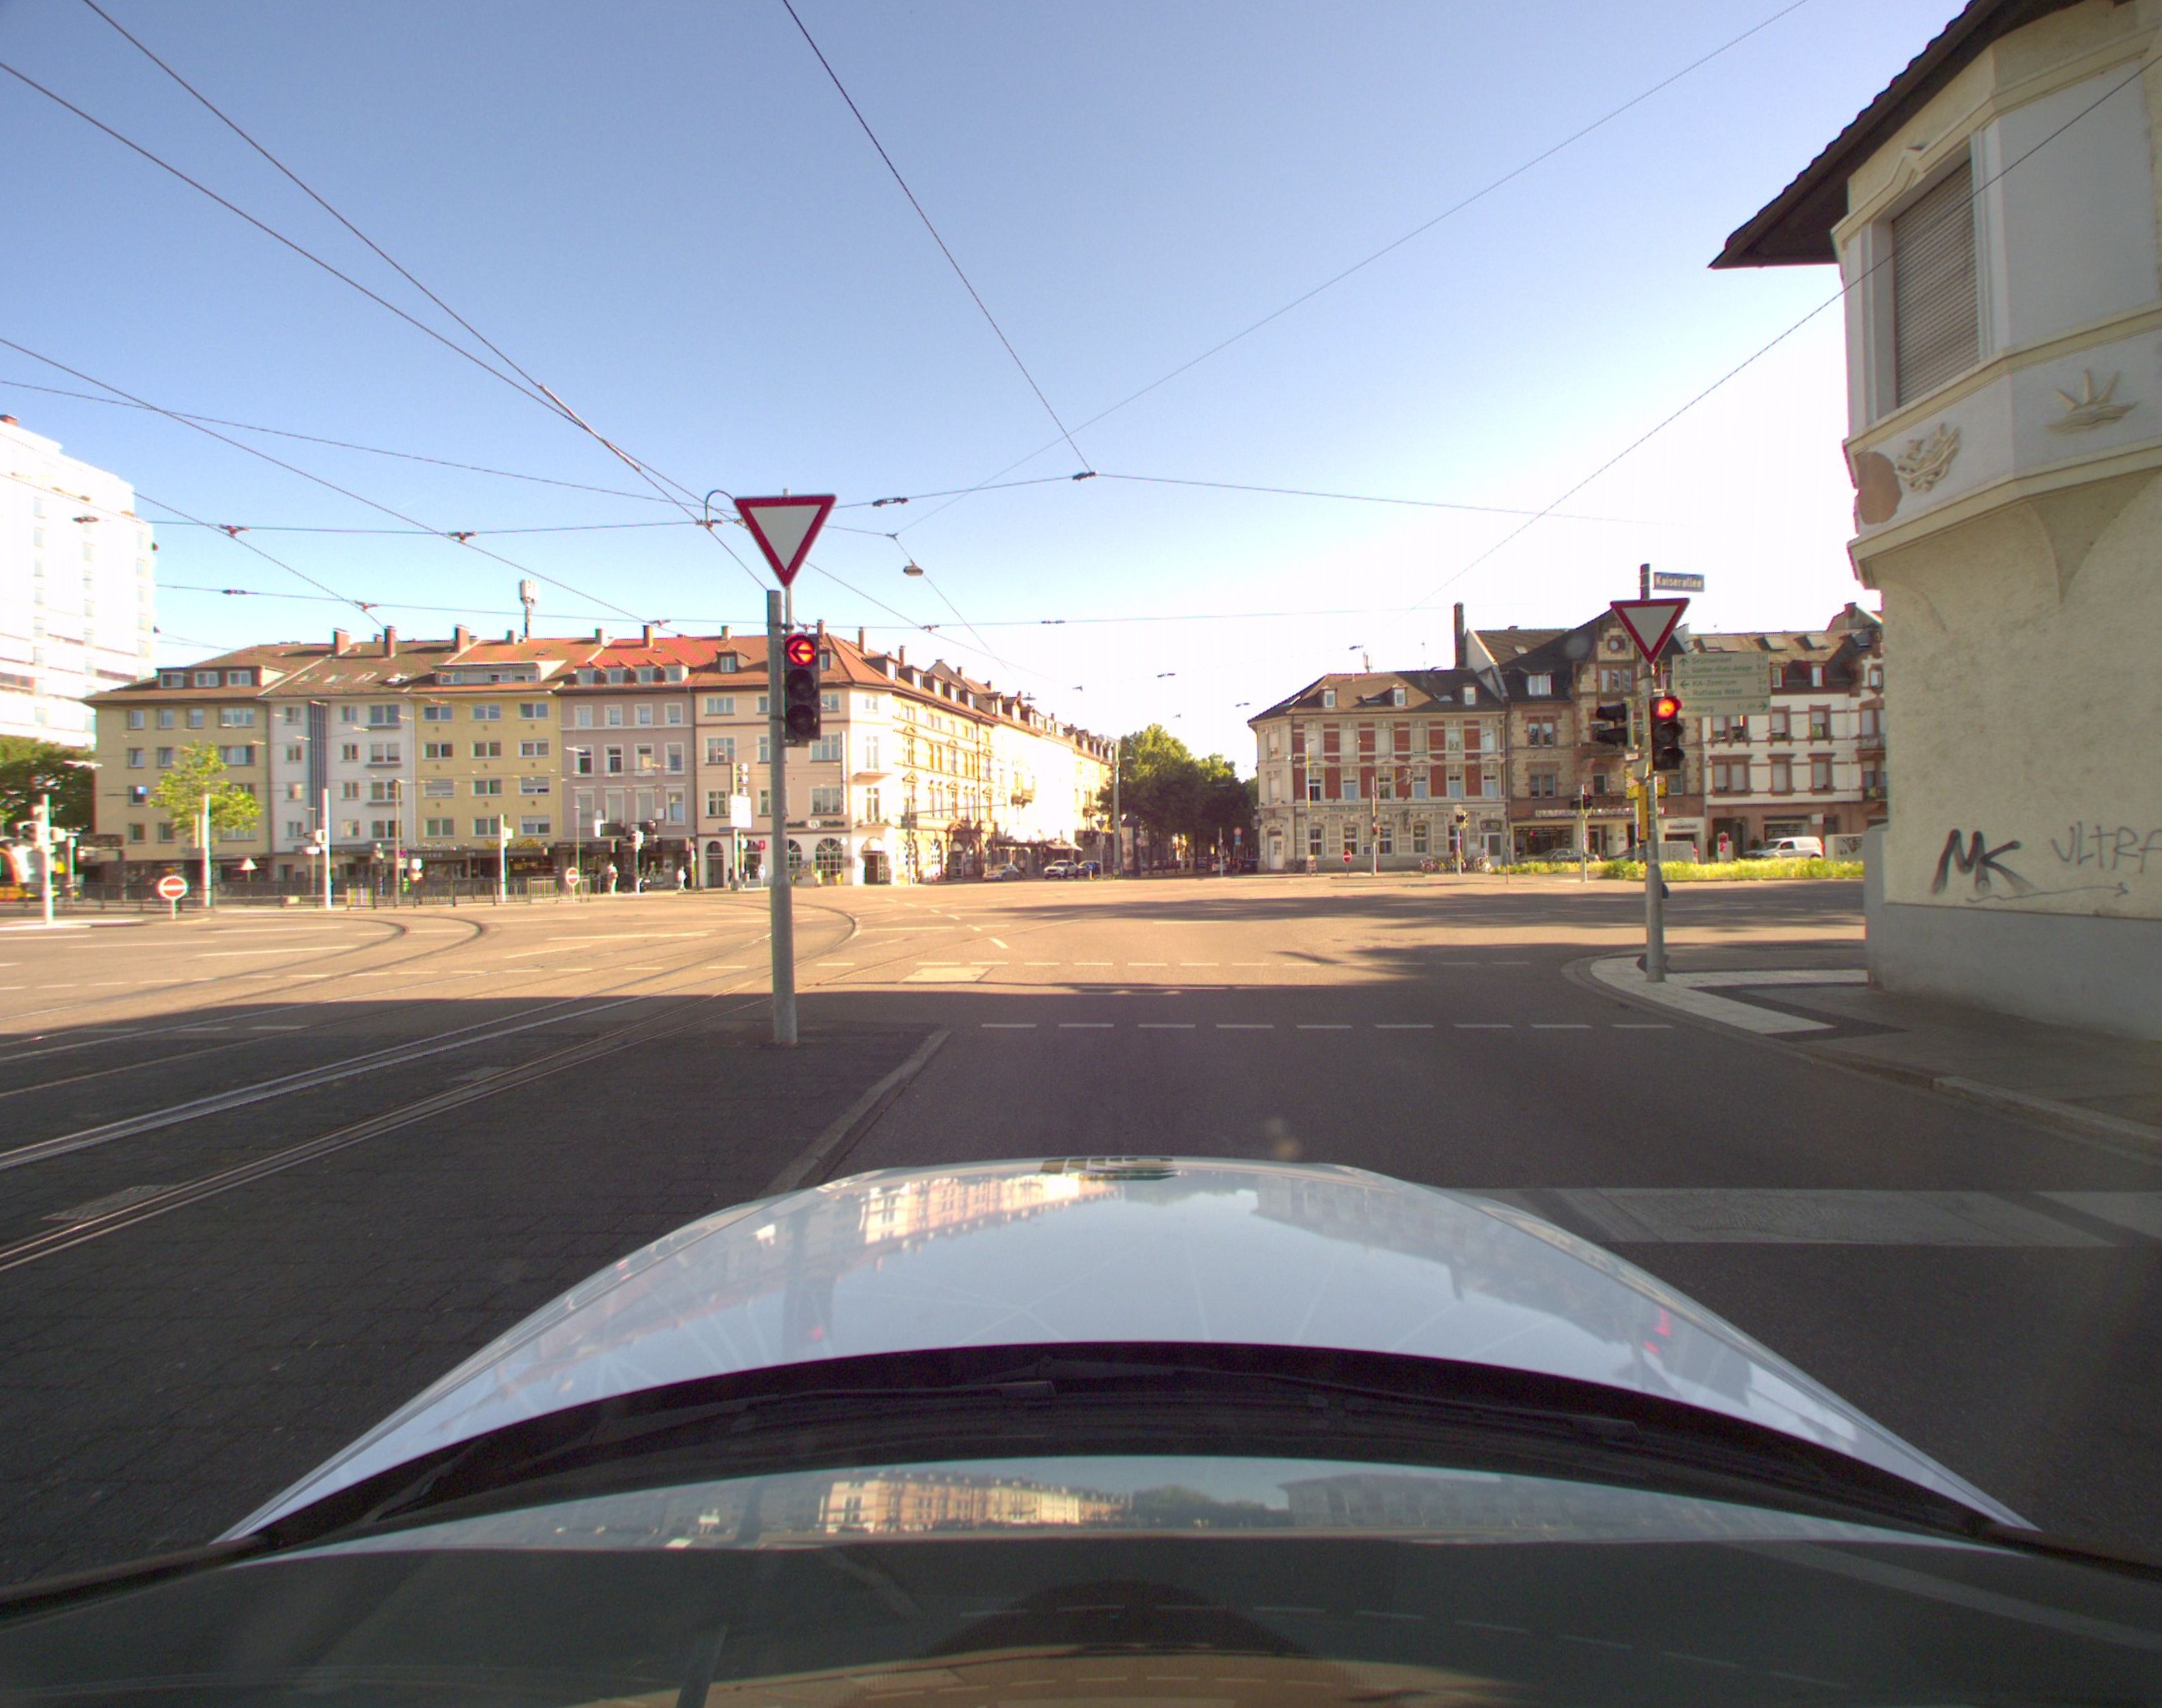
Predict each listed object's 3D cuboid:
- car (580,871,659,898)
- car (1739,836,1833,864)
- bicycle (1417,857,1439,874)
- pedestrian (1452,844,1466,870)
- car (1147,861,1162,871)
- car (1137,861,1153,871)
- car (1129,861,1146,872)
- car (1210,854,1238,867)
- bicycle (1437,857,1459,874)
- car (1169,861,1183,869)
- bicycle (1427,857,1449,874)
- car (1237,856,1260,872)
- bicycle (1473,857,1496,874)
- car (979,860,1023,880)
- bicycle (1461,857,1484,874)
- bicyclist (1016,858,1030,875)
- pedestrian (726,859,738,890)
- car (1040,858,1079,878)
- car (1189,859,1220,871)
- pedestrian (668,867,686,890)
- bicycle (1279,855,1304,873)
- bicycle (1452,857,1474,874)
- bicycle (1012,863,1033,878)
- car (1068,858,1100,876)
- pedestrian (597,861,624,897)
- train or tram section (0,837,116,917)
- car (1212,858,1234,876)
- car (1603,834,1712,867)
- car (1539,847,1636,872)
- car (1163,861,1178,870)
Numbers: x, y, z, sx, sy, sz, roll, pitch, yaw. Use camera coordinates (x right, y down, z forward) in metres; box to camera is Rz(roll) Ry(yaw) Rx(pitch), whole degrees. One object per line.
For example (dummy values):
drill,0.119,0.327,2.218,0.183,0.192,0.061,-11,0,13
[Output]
car,-30.275,1.987,53.534,3.978,1.464,1.998,-2,0,-4
car,45.384,-0.231,52.474,4.356,1.654,1.999,-1,0,-2
bicycle,22.496,0.739,52.841,0.603,1.051,1.641,-1,0,-3
pedestrian,26.004,0.206,55.998,0.705,1.751,0.421,-1,0,3
car,11.063,1.732,122.711,1.729,1.397,4.137,1,0,12
car,9.176,1.689,115.775,1.729,1.397,4.137,1,0,12
car,7.602,1.653,110.004,1.729,1.397,4.137,1,0,12
car,23.372,1.092,133.074,4.074,1.919,1.756,1,0,23
bicycle,23.812,0.730,52.872,0.603,1.051,1.641,-1,0,-3
car,15.864,1.839,136.206,1.728,1.397,4.141,1,0,16
bicycle,23.149,0.734,52.872,0.603,1.051,1.641,-1,0,-3
car,16.905,0.992,82.054,1.637,1.524,3.772,-2,-1,20
bicycle,26.053,0.711,52.614,0.603,1.051,1.641,-1,0,-3
car,-6.598,1.302,67.701,2.080,1.545,4.382,-1,0,16
bicycle,25.314,0.717,52.621,0.603,1.051,1.641,-1,0,-3
bicyclist,-4.730,1.021,66.202,0.787,1.375,1.113,-1,0,16
pedestrian,-22.778,1.353,53.124,0.506,2.013,0.505,-1,0,5
car,-1.731,1.161,67.371,2.080,1.499,4.017,-1,0,16
car,17.486,1.529,114.995,4.078,1.646,1.754,1,0,17
pedestrian,-28.154,1.699,56.766,0.787,1.527,0.860,-1,0,2
bicycle,14.695,0.690,56.941,1.625,1.222,0.609,-1,0,18
bicycle,24.639,0.721,52.571,0.603,1.051,1.641,-1,0,-3
bicycle,-4.719,1.367,66.334,0.745,1.135,2.821,-1,0,16
car,0.291,1.150,73.694,1.979,1.513,4.015,-1,0,14
pedestrian,-24.570,1.305,42.558,0.871,1.818,0.811,-1,0,2
train or tram section,-55.738,1.247,38.377,16.478,3.570,3.313,-1,0,0
car,14.775,1.349,84.632,1.661,1.756,3.776,-2,0,18
car,31.376,-0.202,44.431,4.494,1.672,2.000,-1,0,1
car,29.672,0.337,47.825,4.496,1.341,2.000,-1,0,0
car,14.441,1.815,131.458,1.728,1.397,4.141,1,0,16
